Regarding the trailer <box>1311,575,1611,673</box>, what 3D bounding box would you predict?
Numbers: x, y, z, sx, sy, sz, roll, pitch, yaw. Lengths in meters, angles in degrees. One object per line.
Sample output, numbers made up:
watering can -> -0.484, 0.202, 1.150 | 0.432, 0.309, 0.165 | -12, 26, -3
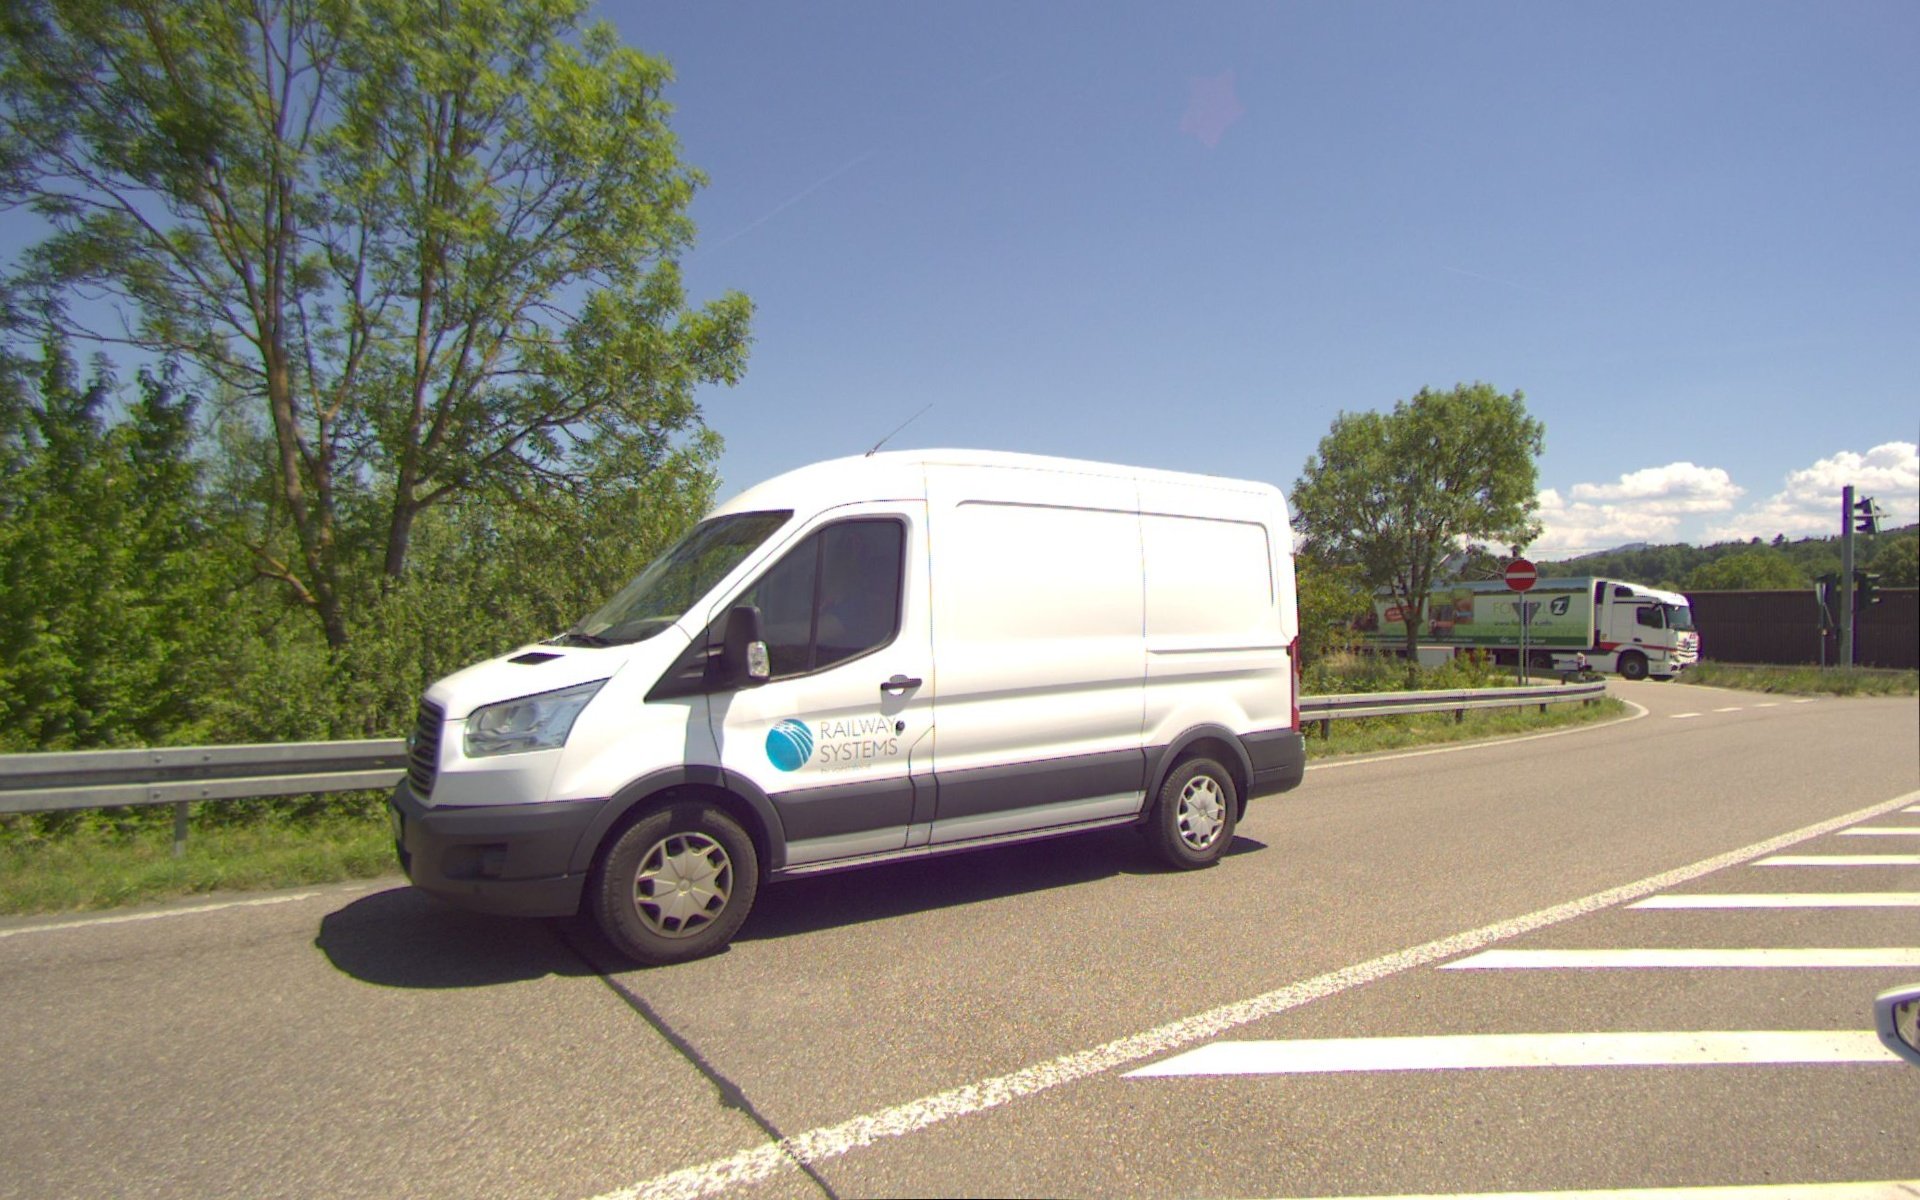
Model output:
trailer -> 22.818, 1.038, 47.192 | 3.027, 4.007, 13.074 | 2, -1, -31

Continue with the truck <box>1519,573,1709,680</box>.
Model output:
truck -> 26.514, 1.035, 40.960 | 3.027, 4.007, 5.736 | 2, -1, -31

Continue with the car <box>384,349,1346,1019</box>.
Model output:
car -> -0.206, 0.401, 6.075 | 5.533, 2.448, 1.981 | 2, -3, -35
